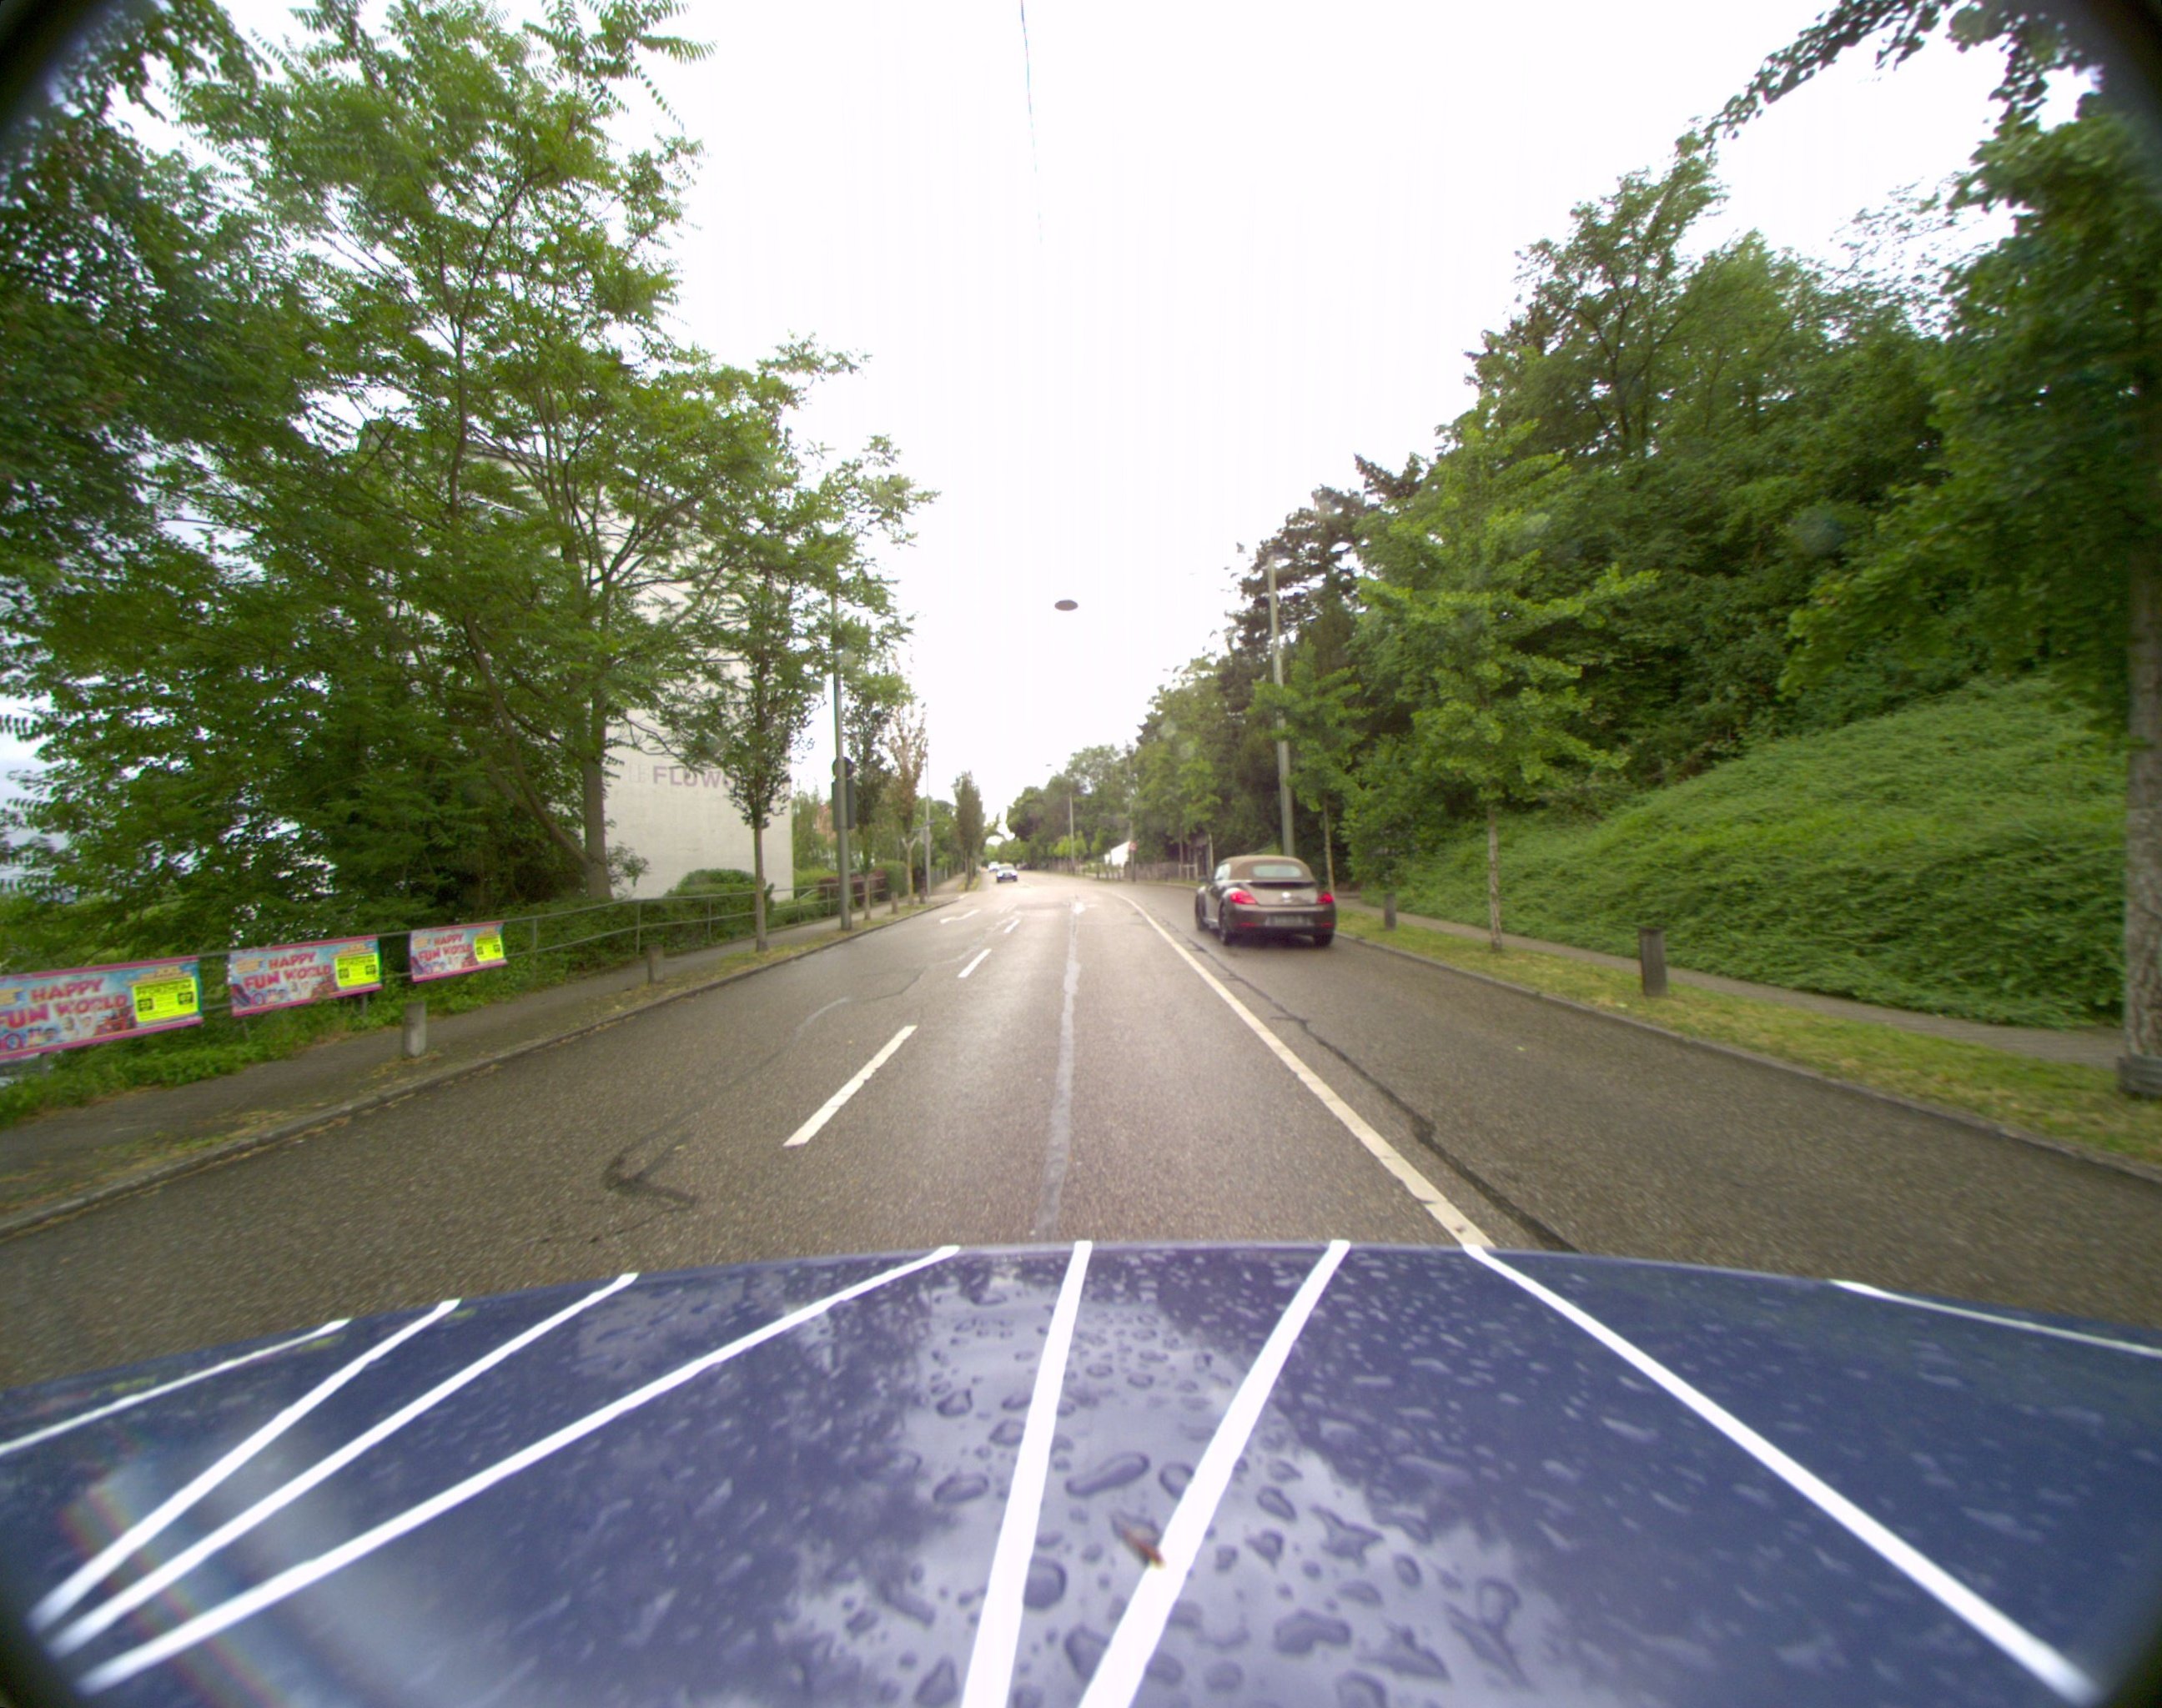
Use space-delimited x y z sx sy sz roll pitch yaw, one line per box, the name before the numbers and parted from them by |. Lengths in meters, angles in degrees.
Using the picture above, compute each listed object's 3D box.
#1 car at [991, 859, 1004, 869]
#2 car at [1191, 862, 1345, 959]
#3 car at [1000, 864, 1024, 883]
car | -14.386 1.687 131.528 1.834 1.609 4.349 -2 1 -2
car | 3.145 0.885 13.602 1.782 1.440 4.000 0 0 0
car | -6.401 1.802 71.096 1.834 1.609 4.292 -2 1 0
